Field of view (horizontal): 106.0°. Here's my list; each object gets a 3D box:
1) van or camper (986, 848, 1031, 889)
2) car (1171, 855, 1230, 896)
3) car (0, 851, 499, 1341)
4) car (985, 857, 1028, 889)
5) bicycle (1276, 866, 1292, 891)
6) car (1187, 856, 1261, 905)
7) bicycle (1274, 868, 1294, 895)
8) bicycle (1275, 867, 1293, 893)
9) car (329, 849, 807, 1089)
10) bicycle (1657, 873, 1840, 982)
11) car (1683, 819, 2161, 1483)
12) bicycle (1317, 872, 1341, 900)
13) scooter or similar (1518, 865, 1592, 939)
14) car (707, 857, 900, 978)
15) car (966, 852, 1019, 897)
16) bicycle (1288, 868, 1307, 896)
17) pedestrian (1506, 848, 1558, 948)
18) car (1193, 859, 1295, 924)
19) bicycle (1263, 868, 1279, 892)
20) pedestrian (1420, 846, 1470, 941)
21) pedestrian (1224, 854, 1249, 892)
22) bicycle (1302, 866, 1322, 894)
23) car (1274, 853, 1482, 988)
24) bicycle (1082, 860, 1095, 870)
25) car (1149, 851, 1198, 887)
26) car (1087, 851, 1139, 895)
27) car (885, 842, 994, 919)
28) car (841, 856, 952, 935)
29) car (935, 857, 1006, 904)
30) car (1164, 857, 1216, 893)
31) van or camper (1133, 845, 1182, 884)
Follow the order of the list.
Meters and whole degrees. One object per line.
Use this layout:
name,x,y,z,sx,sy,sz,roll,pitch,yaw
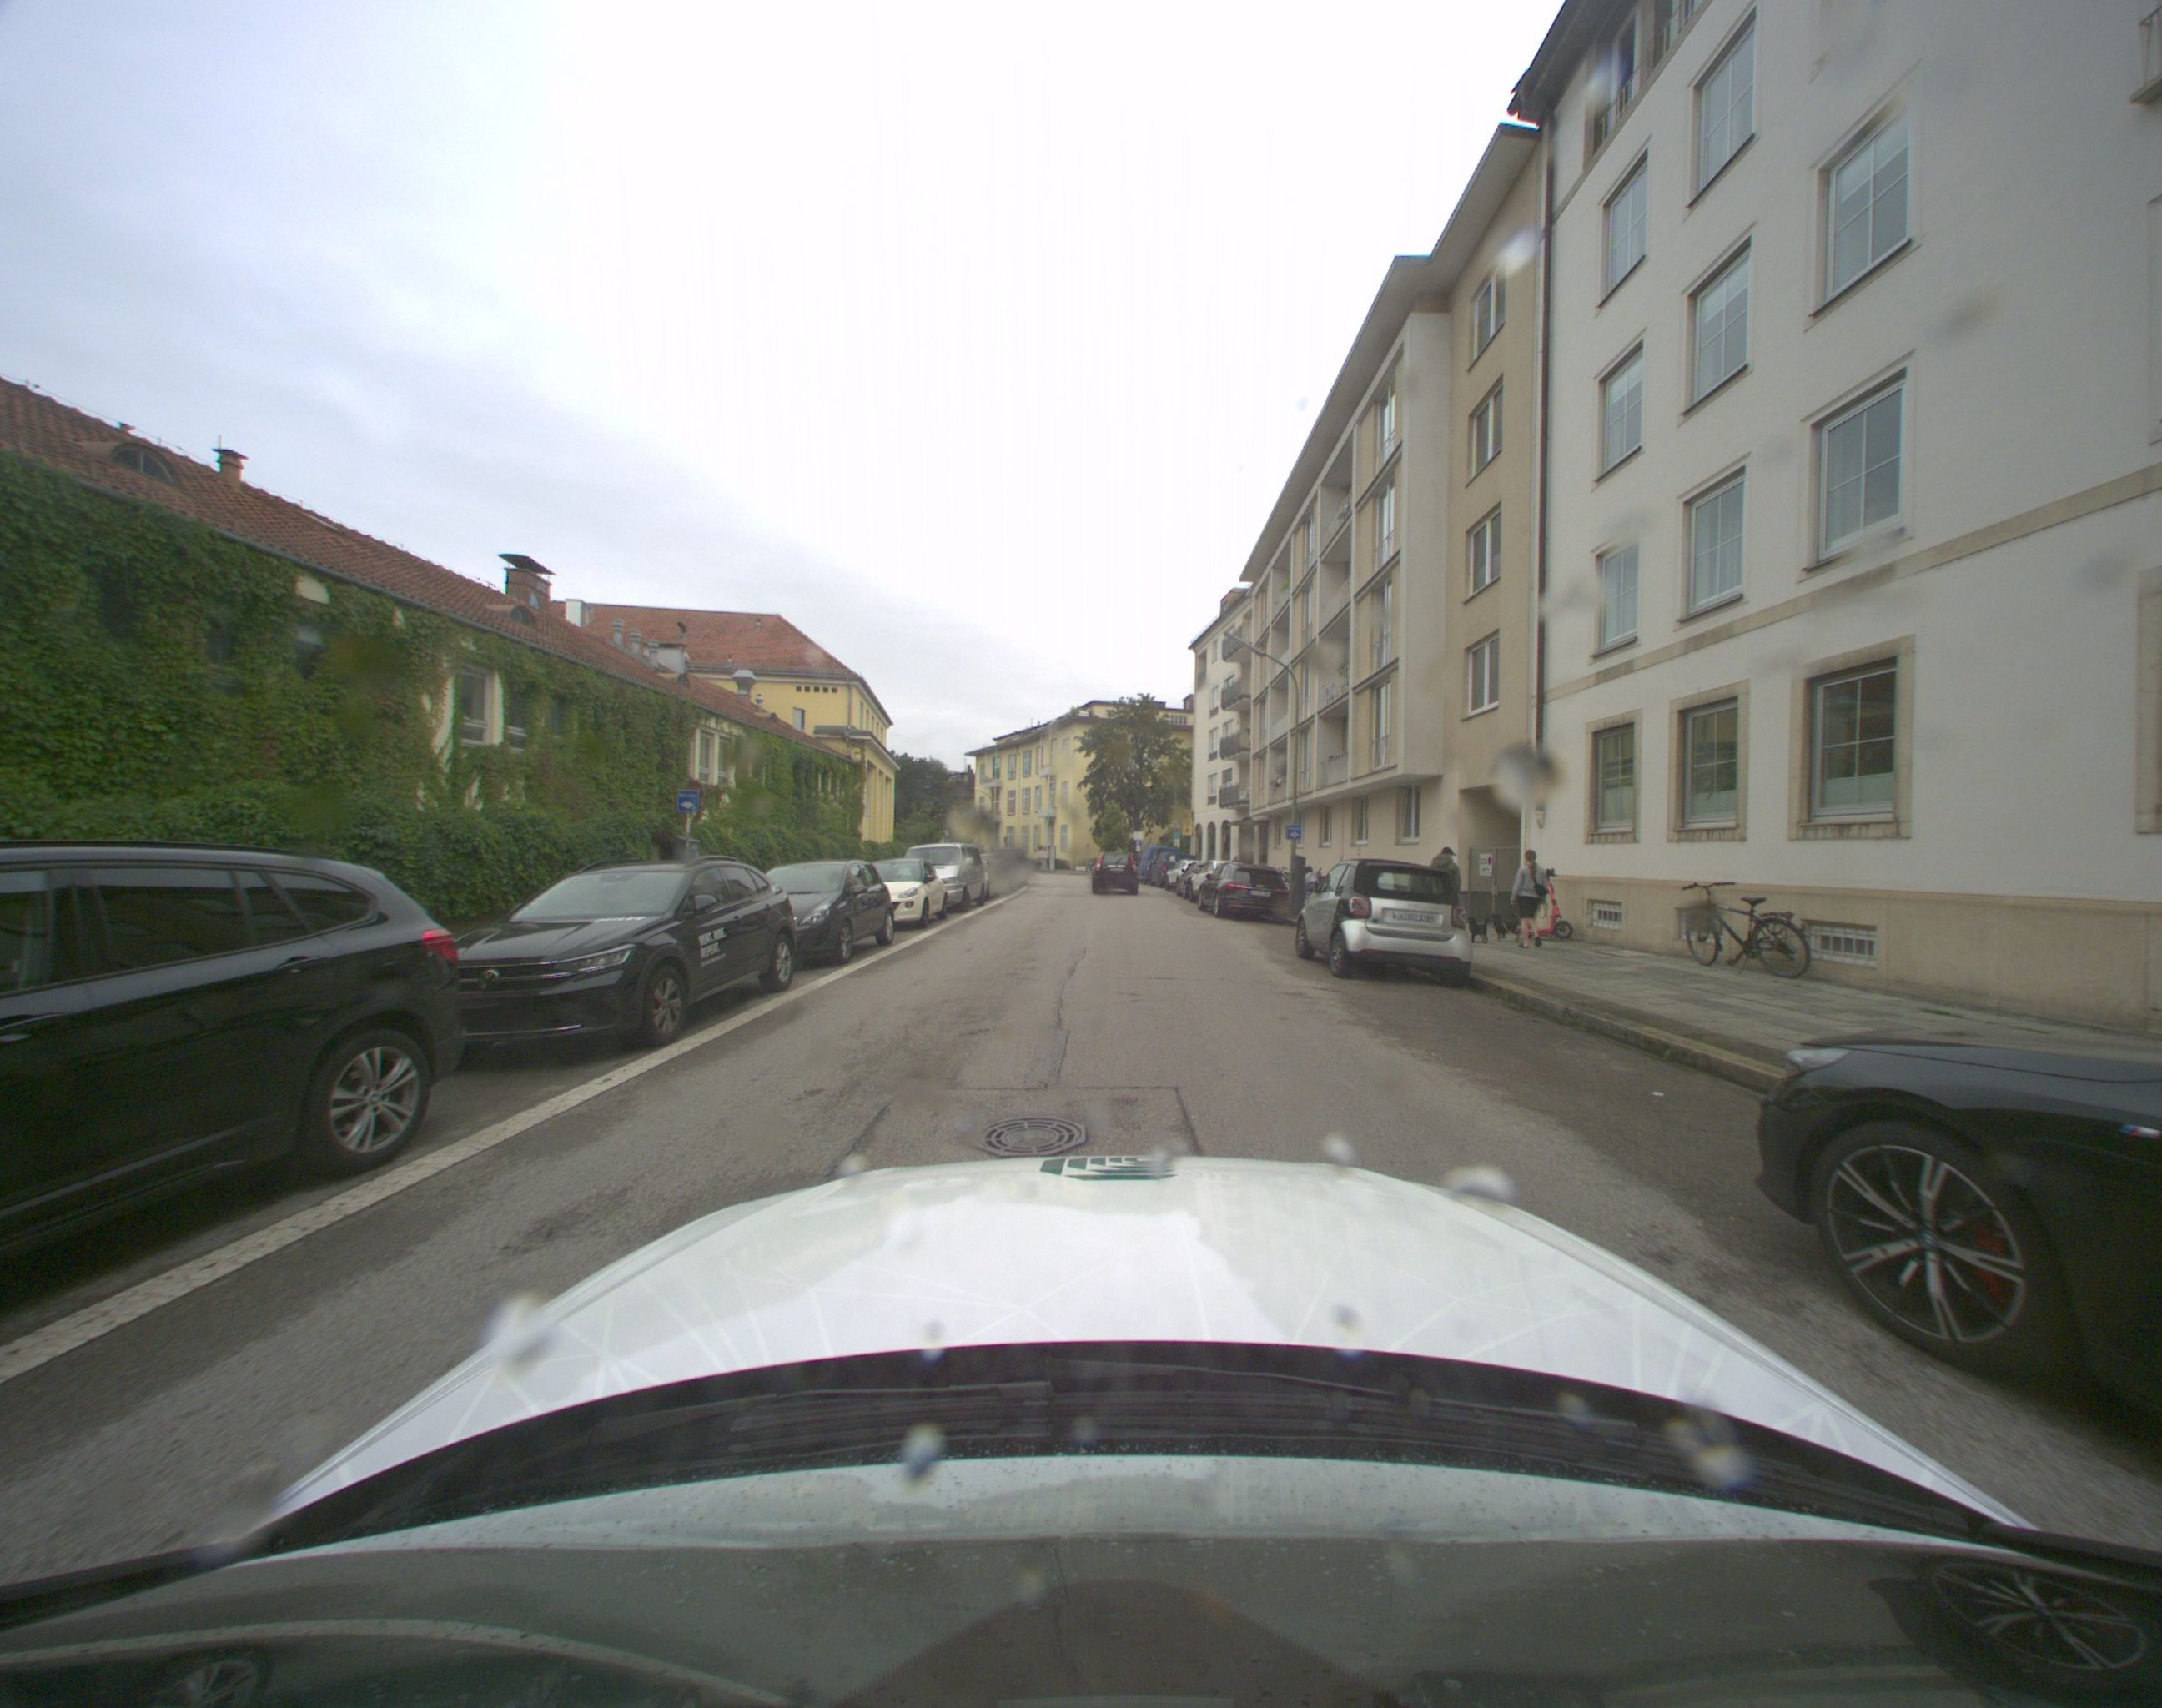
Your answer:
van or camper,-3.835,0.735,43.860,1.955,2.065,4.751,-2,0,-1
car,4.738,0.818,32.812,1.733,1.499,4.494,0,0,0
car,-4.315,0.802,2.642,1.776,1.538,4.194,-3,0,0
car,-3.522,0.888,38.955,1.614,1.378,4.072,-2,0,0
bicycle,8.701,1.056,34.961,0.388,1.024,1.402,-1,0,1
car,4.693,0.816,27.315,1.733,1.499,4.218,0,0,0
bicycle,7.958,1.073,31.931,0.481,1.024,1.402,-1,0,1
bicycle,8.332,1.074,33.468,0.388,1.024,1.402,-1,0,1
car,-4.177,0.767,7.602,1.776,1.538,4.148,-3,0,0
bicycle,8.189,0.848,10.126,0.656,1.163,2.029,0,0,2
car,3.460,0.738,1.004,1.850,1.544,4.816,3,0,0
bicycle,8.766,1.119,28.830,0.443,0.936,1.402,-1,0,1
scooter or similar,8.417,0.846,14.507,0.598,1.252,1.036,-1,-3,-7
car,-4.026,0.832,12.503,1.573,1.455,3.903,-3,0,0
car,-3.614,0.800,33.933,1.614,1.730,4.424,-2,0,0
bicycle,8.465,1.080,31.914,0.388,1.024,1.402,-1,0,1
pedestrian,7.290,0.695,13.175,0.529,1.584,0.560,0,0,1
car,4.273,0.918,21.999,1.790,1.420,4.482,4,0,0
bicycle,8.256,1.122,35.364,0.421,1.024,1.302,-1,0,1
pedestrian,6.494,0.686,14.546,0.594,1.654,0.631,-1,0,1
pedestrian,6.991,0.846,36.649,0.895,1.687,1.319,0,0,0
bicycle,8.912,1.003,31.395,0.388,1.024,1.402,-1,0,1
car,4.099,0.811,11.912,1.665,1.534,3.883,4,0,2
bicycle,0.793,1.224,88.846,0.611,1.072,2.201,0,0,-22
car,4.837,0.746,43.297,1.958,1.816,4.934,0,0,-1
car,1.374,0.728,33.429,1.987,1.694,4.384,0,0,3
car,-3.851,0.682,23.082,1.986,1.875,4.761,-2,0,2
car,-3.955,0.818,18.011,1.573,1.492,3.729,-2,0,0
car,-3.805,0.880,28.775,1.694,1.422,4.427,-2,0,2
car,4.995,0.932,37.683,1.734,1.537,4.271,0,0,-2
van or camper,4.546,0.590,49.087,2.057,2.231,5.430,0,0,-4
